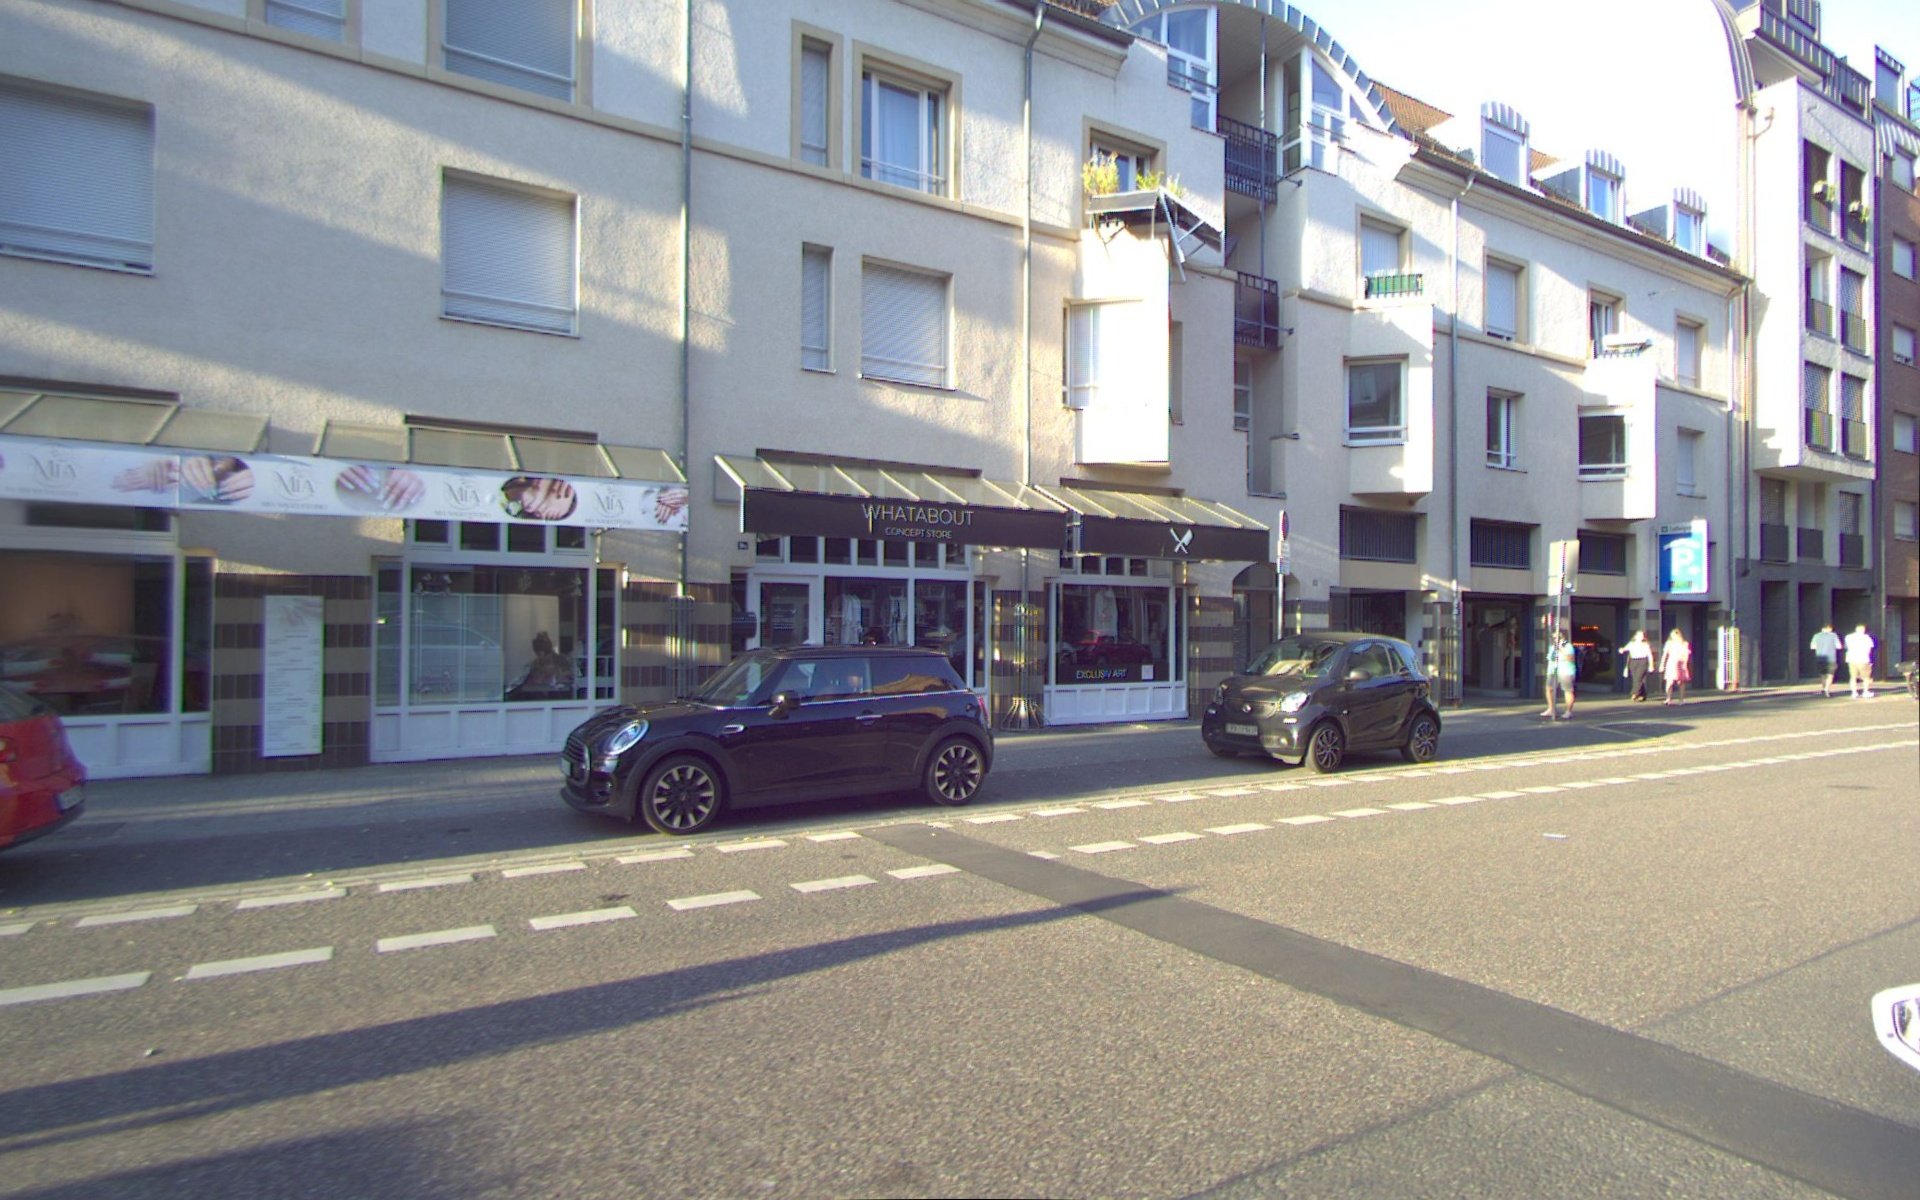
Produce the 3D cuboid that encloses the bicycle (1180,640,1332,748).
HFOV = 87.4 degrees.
[{"bbox_3d":[4.195,1.286,14.139,2.331,1.393,0.607,2,0,-31],"label":"bicycle"}]

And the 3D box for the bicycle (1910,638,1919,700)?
[{"bbox_3d":[23.351,1.624,23.945,3.134,1.414,0.580,2,0,-39],"label":"bicycle"}]

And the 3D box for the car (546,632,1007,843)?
[{"bbox_3d":[-1.590,1.072,8.943,3.681,1.473,1.703,2,0,-30],"label":"car"}]

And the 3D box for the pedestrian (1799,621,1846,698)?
[{"bbox_3d":[20.885,1.430,24.313,0.688,1.790,0.711,2,0,-38],"label":"pedestrian"}]

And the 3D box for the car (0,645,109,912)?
[{"bbox_3d":[-7.316,0.988,5.450,3.839,1.421,1.652,2,0,-31],"label":"car"}]

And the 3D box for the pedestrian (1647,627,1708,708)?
[{"bbox_3d":[15.270,1.417,21.384,0.844,1.663,0.714,2,0,-25],"label":"pedestrian"}]

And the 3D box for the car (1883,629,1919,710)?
[{"bbox_3d":[20.432,1.368,18.781,1.962,1.622,4.506,2,-2,-6],"label":"car"}]

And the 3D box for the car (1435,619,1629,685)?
[{"bbox_3d":[16.185,1.416,28.686,1.974,1.623,4.479,2,0,-26],"label":"car"}]

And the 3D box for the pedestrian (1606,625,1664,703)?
[{"bbox_3d":[14.929,1.404,22.225,0.844,1.663,0.714,2,0,-25],"label":"pedestrian"}]

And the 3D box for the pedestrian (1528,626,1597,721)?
[{"bbox_3d":[11.056,1.328,18.435,0.941,1.663,0.712,2,0,-33],"label":"pedestrian"}]

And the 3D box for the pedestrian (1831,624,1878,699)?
[{"bbox_3d":[21.767,1.480,24.446,0.732,1.763,0.711,2,0,-38],"label":"pedestrian"}]

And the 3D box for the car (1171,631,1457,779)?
[{"bbox_3d":[4.351,1.167,12.302,3.155,1.555,1.782,1,-1,-33],"label":"car"}]

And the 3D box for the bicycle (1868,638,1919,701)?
[{"bbox_3d":[22.936,1.658,24.475,3.126,1.414,0.715,2,0,-39],"label":"bicycle"}]

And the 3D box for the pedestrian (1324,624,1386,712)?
[{"bbox_3d":[7.653,1.300,19.486,0.844,1.637,0.714,2,0,-27],"label":"pedestrian"}]
